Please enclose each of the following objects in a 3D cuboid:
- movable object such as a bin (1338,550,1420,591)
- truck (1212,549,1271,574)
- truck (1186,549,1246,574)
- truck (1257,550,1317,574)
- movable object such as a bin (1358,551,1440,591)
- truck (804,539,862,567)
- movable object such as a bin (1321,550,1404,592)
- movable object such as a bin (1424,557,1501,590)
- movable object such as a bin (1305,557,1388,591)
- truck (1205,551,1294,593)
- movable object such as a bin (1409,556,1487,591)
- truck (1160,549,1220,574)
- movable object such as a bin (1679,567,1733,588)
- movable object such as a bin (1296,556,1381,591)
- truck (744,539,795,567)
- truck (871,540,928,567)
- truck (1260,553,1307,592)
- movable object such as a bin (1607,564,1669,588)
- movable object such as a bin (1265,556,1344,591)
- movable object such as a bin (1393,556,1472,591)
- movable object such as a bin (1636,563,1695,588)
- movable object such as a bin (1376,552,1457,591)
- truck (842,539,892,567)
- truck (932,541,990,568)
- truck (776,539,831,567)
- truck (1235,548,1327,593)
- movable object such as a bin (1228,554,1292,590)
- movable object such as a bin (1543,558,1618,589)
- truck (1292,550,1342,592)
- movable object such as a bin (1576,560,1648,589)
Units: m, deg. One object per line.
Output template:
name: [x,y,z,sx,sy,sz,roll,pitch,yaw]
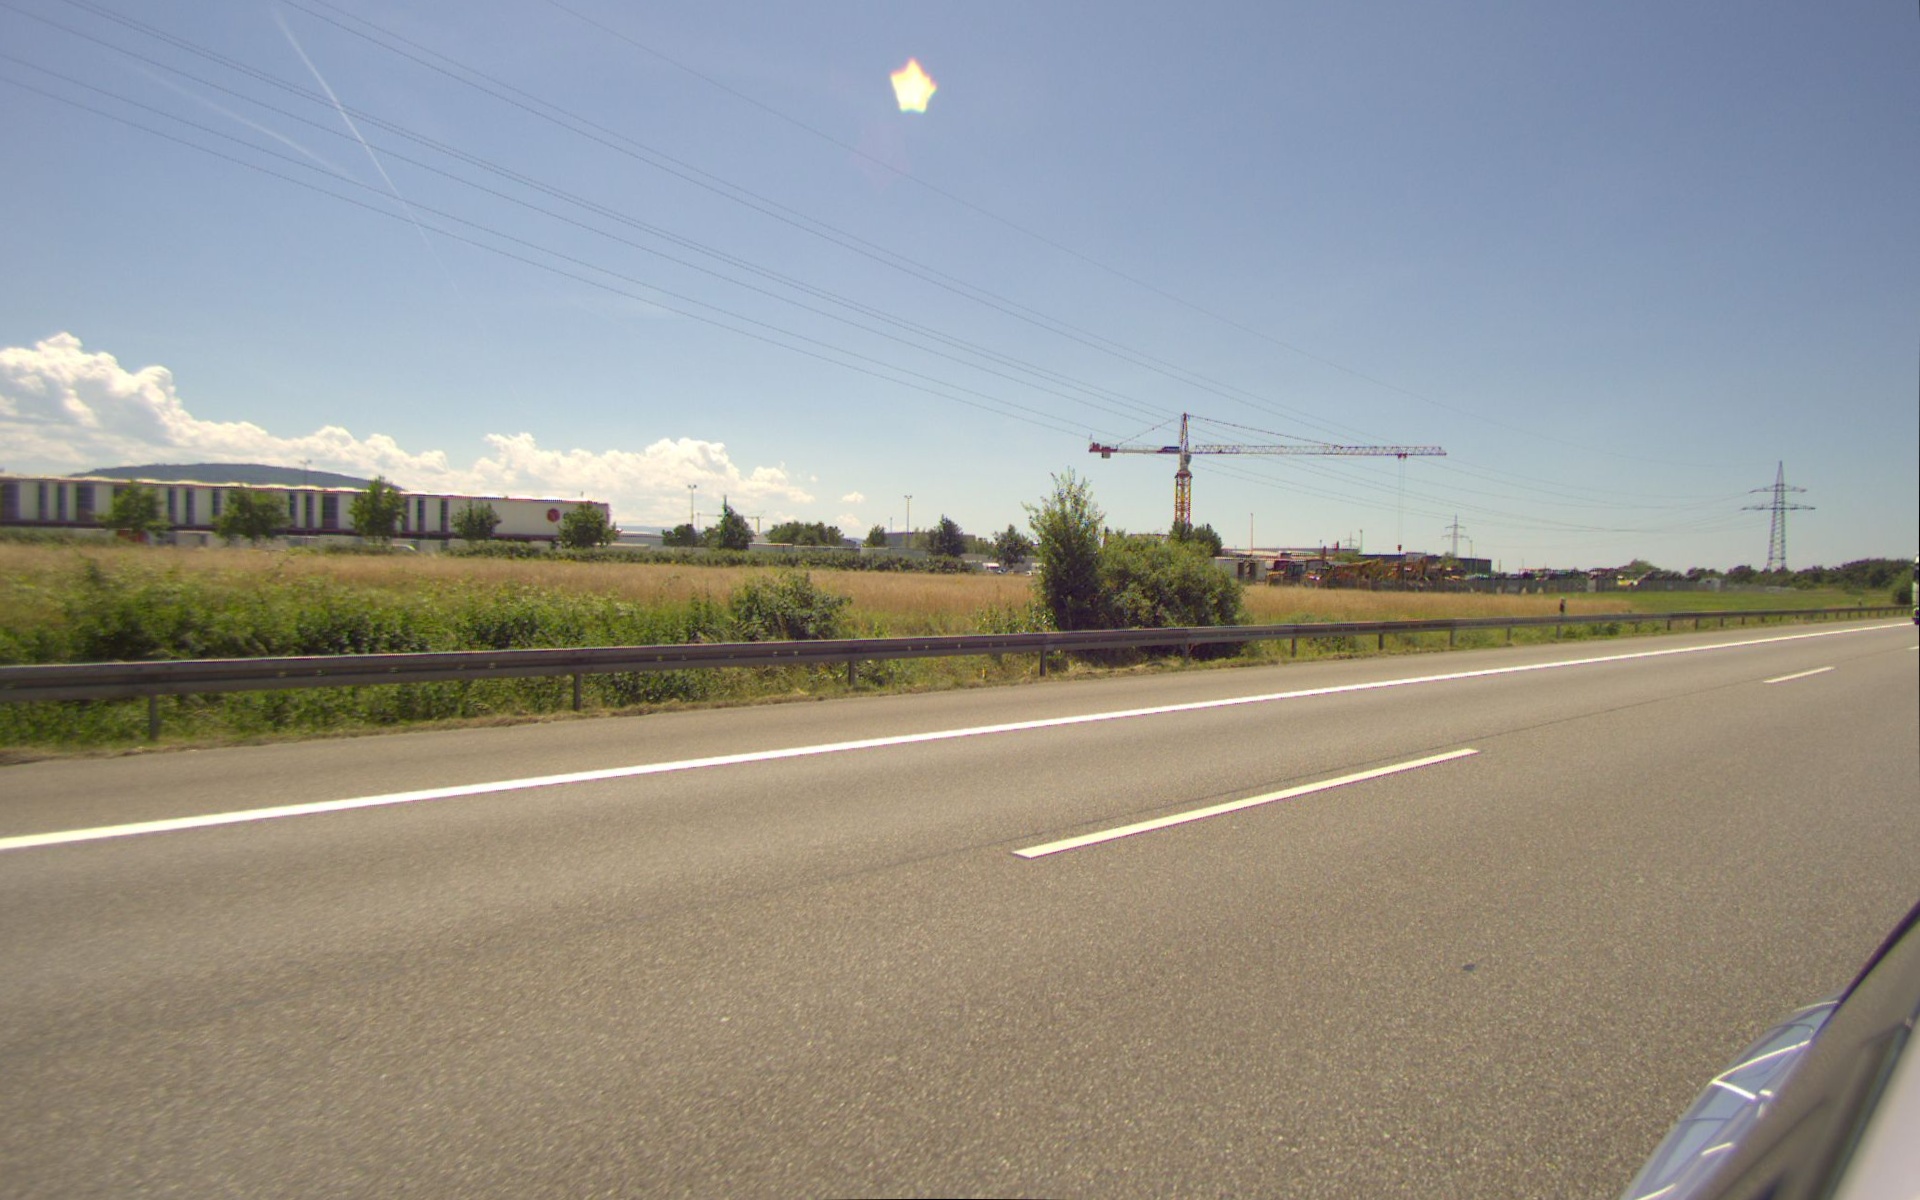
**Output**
movable object such as a bin: [47.016,-3.211,113.813,2.829,4.351,8.113,0,0,-38]
truck: [42.196,-5.802,151.965,8.146,3.453,2.794,4,3,43]
truck: [38.019,-5.763,150.481,8.120,3.454,2.802,3,3,35]
truck: [49.916,-5.814,154.617,8.131,3.454,2.799,3,3,38]
movable object such as a bin: [50.593,-3.256,116.888,3.290,4.351,8.113,0,0,-38]
truck: [-16.619,-6.161,132.103,8.146,3.453,2.786,4,3,43]
movable object such as a bin: [44.266,-3.132,111.569,2.829,4.351,8.113,0,0,-38]
movable object such as a bin: [62.883,-3.226,126.782,3.080,4.001,8.113,0,0,-38]
movable object such as a bin: [41.719,-2.753,109.589,2.829,3.507,8.113,0,0,-38]
truck: [35.253,-3.334,122.828,13.882,4.832,3.050,-1,0,-40]
movable object such as a bin: [59.818,-3.189,124.292,3.080,4.001,8.113,0,0,-38]
truck: [33.829,-5.723,149.050,8.120,3.454,2.802,3,3,35]
movable object such as a bin: [147.404,-4.319,200.003,2.829,3.988,8.113,0,0,-38]
movable object such as a bin: [39.813,-2.721,106.659,2.829,3.507,8.113,0,0,-38]
truck: [-24.453,-6.090,129.824,2.779,3.453,8.167,0,3,-39]
truck: [-8.114,-6.240,134.804,8.151,3.453,2.713,4,3,45]
truck: [40.733,-3.401,127.369,5.876,4.833,3.050,0,0,-40]
movable object such as a bin: [114.337,-3.993,170.782,2.829,3.955,8.113,0,0,-38]
movable object such as a bin: [35.881,-2.686,105.629,2.829,3.507,7.583,0,0,-38]
movable object such as a bin: [56.863,-3.153,121.965,3.080,4.001,8.113,0,0,-38]
movable object such as a bin: [125.747,-4.306,180.534,2.829,4.429,8.113,0,0,-38]
movable object such as a bin: [53.778,-3.295,119.482,3.239,4.351,8.113,0,0,-38]
truck: [-12.341,-6.200,133.252,2.776,3.453,8.175,0,3,-36]
truck: [0.071,-6.140,136.351,8.151,3.453,2.713,4,3,45]
truck: [-20.282,-6.126,130.719,2.783,3.453,8.154,0,3,-44]
truck: [37.011,-3.308,116.213,14.069,4.832,3.050,-1,0,-40]
movable object such as a bin: [41.842,-3.830,141.545,3.227,4.709,8.848,0,0,-30]
movable object such as a bin: [97.377,-4.096,158.943,3.374,4.569,9.378,0,0,-38]
truck: [42.618,-3.377,120.885,5.876,4.833,3.050,0,0,-40]
movable object such as a bin: [106.747,-4.137,165.908,3.374,4.569,9.378,0,0,-38]
